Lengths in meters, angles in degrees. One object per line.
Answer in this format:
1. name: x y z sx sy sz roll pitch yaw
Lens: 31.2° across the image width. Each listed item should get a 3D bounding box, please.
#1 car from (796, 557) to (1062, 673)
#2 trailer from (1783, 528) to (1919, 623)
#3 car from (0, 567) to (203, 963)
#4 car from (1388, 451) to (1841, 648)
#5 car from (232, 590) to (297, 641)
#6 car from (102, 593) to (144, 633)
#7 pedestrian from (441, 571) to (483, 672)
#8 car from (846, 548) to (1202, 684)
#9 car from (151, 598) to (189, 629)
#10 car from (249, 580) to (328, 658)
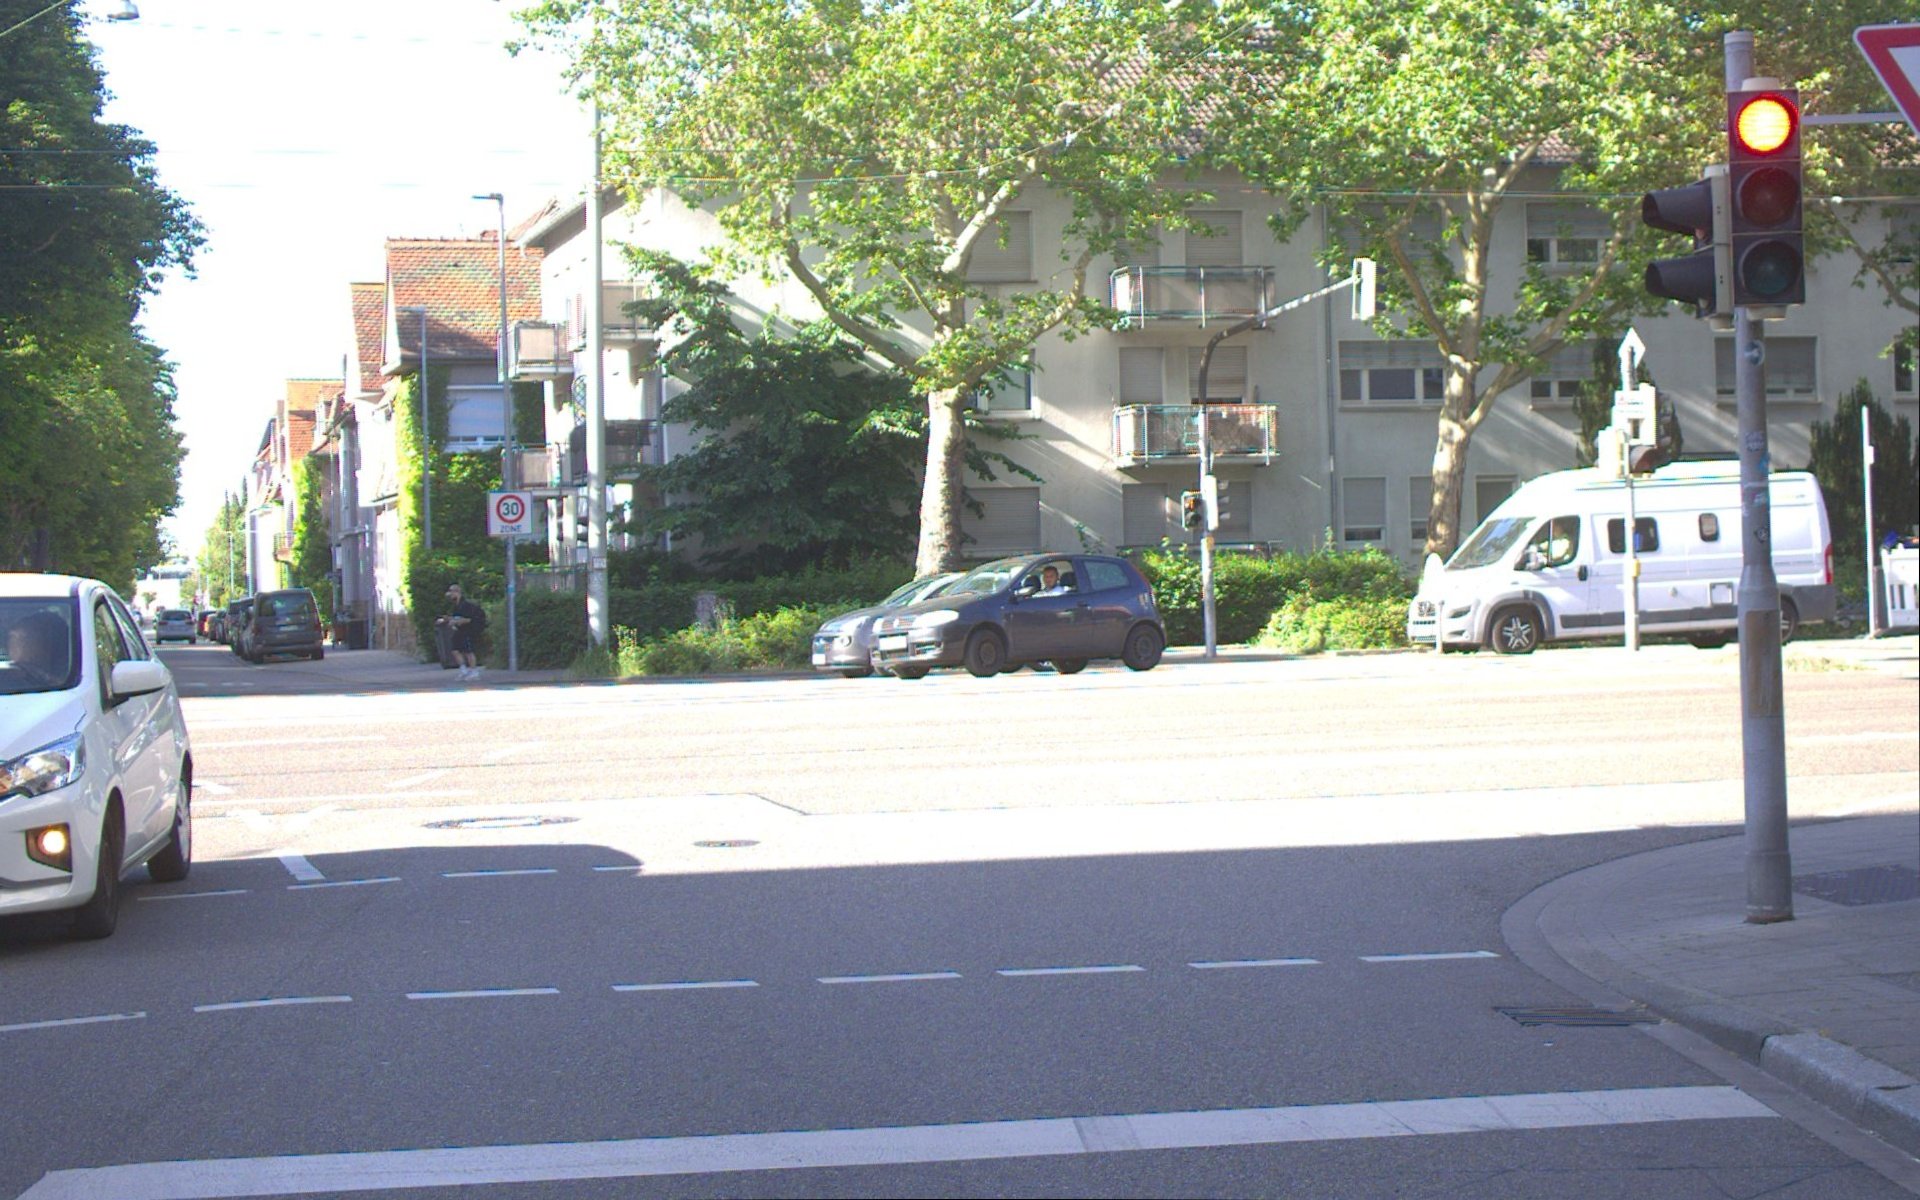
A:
1. car: -0.436 0.195 48.477 3.379 1.482 1.525 -2 1 -22
2. trailer: 13.565 -0.382 50.140 2.739 1.306 1.271 -2 1 -19
3. car: -4.348 0.627 14.797 1.624 1.467 3.800 -2 1 -5
4. car: 9.300 -0.741 48.832 6.039 2.559 2.001 -2 1 -18
5. car: -25.389 0.559 125.409 1.993 1.826 4.001 -1 0 -16
6. car: -36.255 0.536 148.921 1.546 1.627 3.235 -2 1 -11
7. pedestrian: -8.707 0.372 60.106 0.633 1.744 0.659 -1 0 -17
8. car: 0.787 0.170 41.358 3.987 1.446 1.659 -2 1 -32
9. car: -38.147 0.645 166.092 1.673 1.477 3.523 -1 0 -11
10. car: -18.492 0.497 94.837 1.993 2.007 4.001 -2 1 -10
